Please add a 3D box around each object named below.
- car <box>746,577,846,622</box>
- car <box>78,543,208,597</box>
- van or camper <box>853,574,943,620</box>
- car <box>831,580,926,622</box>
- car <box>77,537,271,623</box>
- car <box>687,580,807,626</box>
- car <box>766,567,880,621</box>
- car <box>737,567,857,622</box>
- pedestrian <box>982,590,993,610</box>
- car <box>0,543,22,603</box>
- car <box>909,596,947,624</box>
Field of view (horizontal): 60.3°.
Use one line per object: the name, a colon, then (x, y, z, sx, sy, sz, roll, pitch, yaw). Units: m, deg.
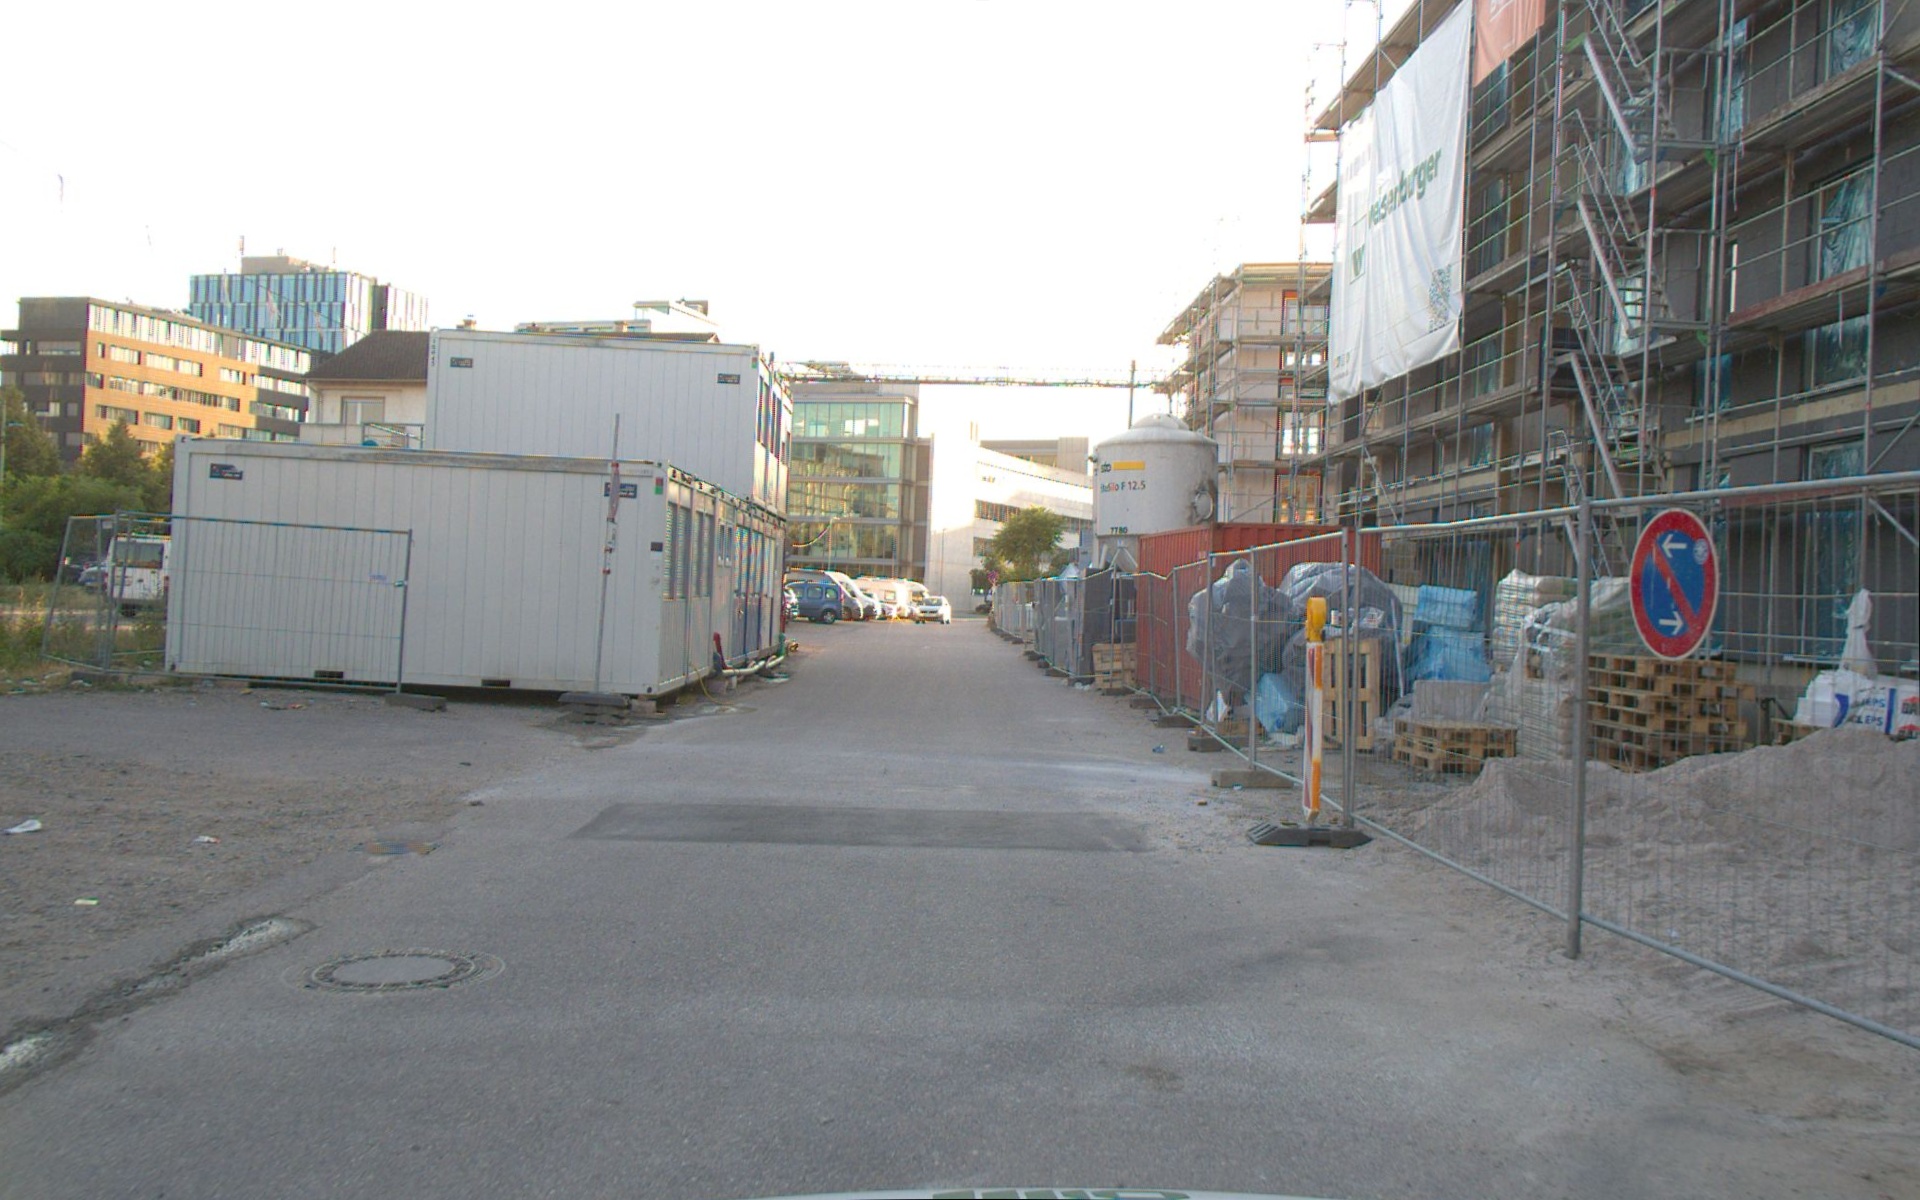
car: (-7.446, -0.019, 75.242, 4.417, 1.901, 1.997, 2, 0, -7)
car: (-34.083, -1.223, 69.196, 2.259, 2.049, 5.062, 2, 0, 9)
van or camper: (-4.577, -0.229, 122.224, 6.198, 3.030, 2.294, 3, 0, 12)
car: (-5.315, 0.041, 108.212, 5.797, 2.533, 2.002, 2, 0, 10)
car: (-20.760, -0.490, 43.982, 2.259, 2.049, 5.061, 3, 0, 6)
car: (-8.574, 0.112, 66.769, 4.408, 1.676, 2.002, 2, 0, 8)
car: (-7.667, -0.330, 93.024, 6.199, 2.789, 2.000, 2, 0, -1)
car: (-8.748, -0.300, 89.114, 6.199, 2.697, 2.000, 2, 0, -1)
pedestrian: (2.552, -0.039, 155.297, 0.748, 1.848, 0.845, 2, 0, 23)
car: (-33.471, -0.959, 54.542, 1.952, 2.009, 4.861, 3, 0, 4)
car: (-1.868, 0.604, 98.222, 1.629, 1.555, 3.913, 2, 0, 7)
